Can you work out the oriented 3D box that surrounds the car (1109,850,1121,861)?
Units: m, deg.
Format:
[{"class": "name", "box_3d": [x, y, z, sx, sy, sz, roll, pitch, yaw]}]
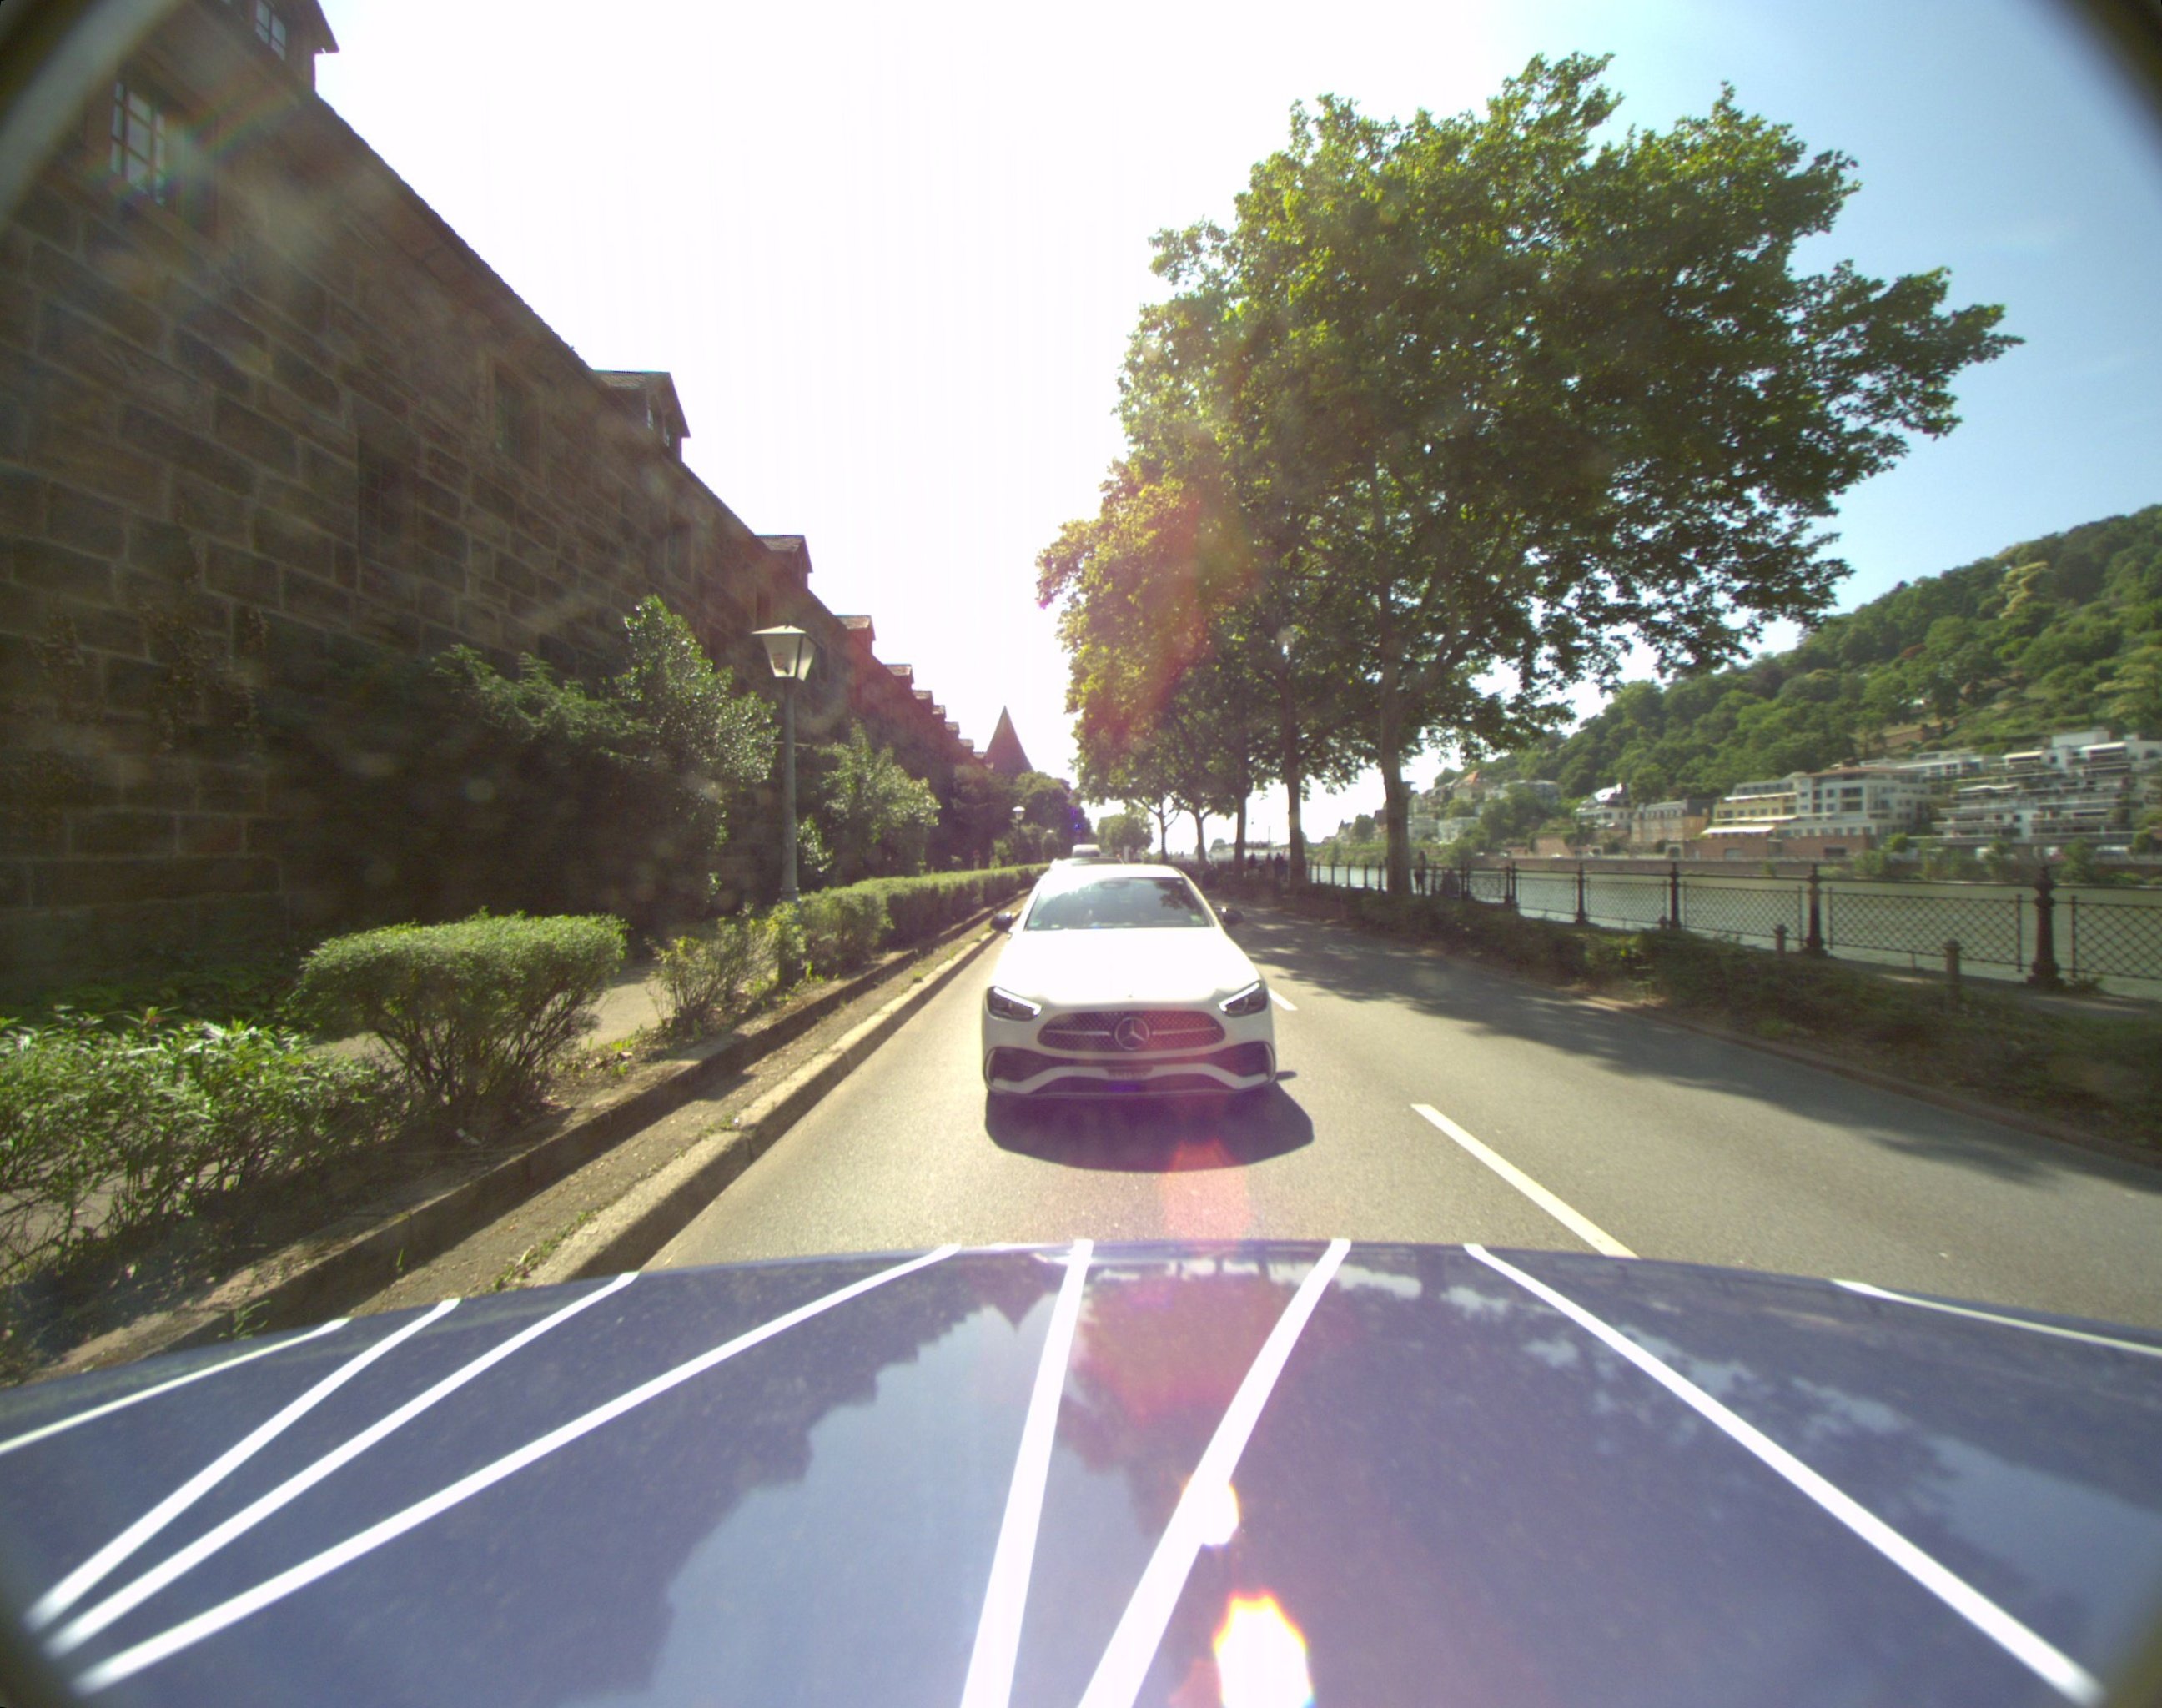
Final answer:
[{"class": "car", "box_3d": [6.558, 0.322, 146.780, 2.165, 2.002, 4.000, -2, 1, 1]}]

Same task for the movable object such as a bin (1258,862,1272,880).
[{"class": "movable object such as a bin", "box_3d": [10.999, 1.031, 45.417, 0.703, 1.043, 0.783, -2, 1, 4]}]

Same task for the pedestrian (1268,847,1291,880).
[{"class": "pedestrian", "box_3d": [12.227, 0.591, 46.829, 1.047, 2.002, 1.036, -1, 1, 31]}]

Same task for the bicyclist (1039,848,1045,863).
[{"class": "bicyclist", "box_3d": [-4.073, 0.170, 78.662, 0.550, 1.513, 0.583, -2, 1, -1]}]

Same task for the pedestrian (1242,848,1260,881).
[{"class": "pedestrian", "box_3d": [9.861, 0.609, 44.180, 0.806, 1.839, 0.929, -2, 1, 1]}]

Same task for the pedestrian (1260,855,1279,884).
[{"class": "pedestrian", "box_3d": [11.019, 0.876, 44.347, 0.897, 1.625, 1.059, -2, 1, 6]}]

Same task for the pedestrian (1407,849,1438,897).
[{"class": "pedestrian", "box_3d": [12.856, 0.707, 28.605, 0.777, 1.748, 0.830, 1, 1, 0]}]

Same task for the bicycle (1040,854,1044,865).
[{"class": "bicycle", "box_3d": [-4.034, 0.565, 78.483, 0.406, 1.169, 1.576, -2, 1, -2]}]

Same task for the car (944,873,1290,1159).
[{"class": "car", "box_3d": [0.224, 0.934, 6.260, 1.833, 1.395, 4.270, -2, 0, 1]}]

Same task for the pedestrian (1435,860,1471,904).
[{"class": "pedestrian", "box_3d": [12.043, 0.897, 24.641, 0.768, 1.379, 0.770, 1, 0, 0]}]

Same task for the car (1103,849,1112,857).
[{"class": "car", "box_3d": [6.790, -0.336, 193.087, 2.165, 2.002, 4.000, -2, 1, 1]}]

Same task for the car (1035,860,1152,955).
[{"class": "car", "box_3d": [0.233, 0.872, 14.347, 1.833, 1.428, 4.270, -2, 0, 1]}]

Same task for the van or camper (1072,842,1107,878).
[{"class": "van or camper", "box_3d": [0.582, 0.397, 52.998, 2.313, 2.358, 5.035, 1, 0, 0]}]

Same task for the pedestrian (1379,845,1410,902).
[{"class": "pedestrian", "box_3d": [10.623, 0.659, 25.755, 0.767, 1.889, 0.771, 1, 1, 8]}]

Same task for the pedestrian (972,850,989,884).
[{"class": "pedestrian", "box_3d": [-4.715, 0.594, 35.534, 0.643, 1.555, 0.563, -2, 1, 1]}]

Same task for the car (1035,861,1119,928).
[{"class": "car", "box_3d": [-0.059, 0.917, 19.098, 1.833, 1.395, 4.424, -2, 0, 1]}]
